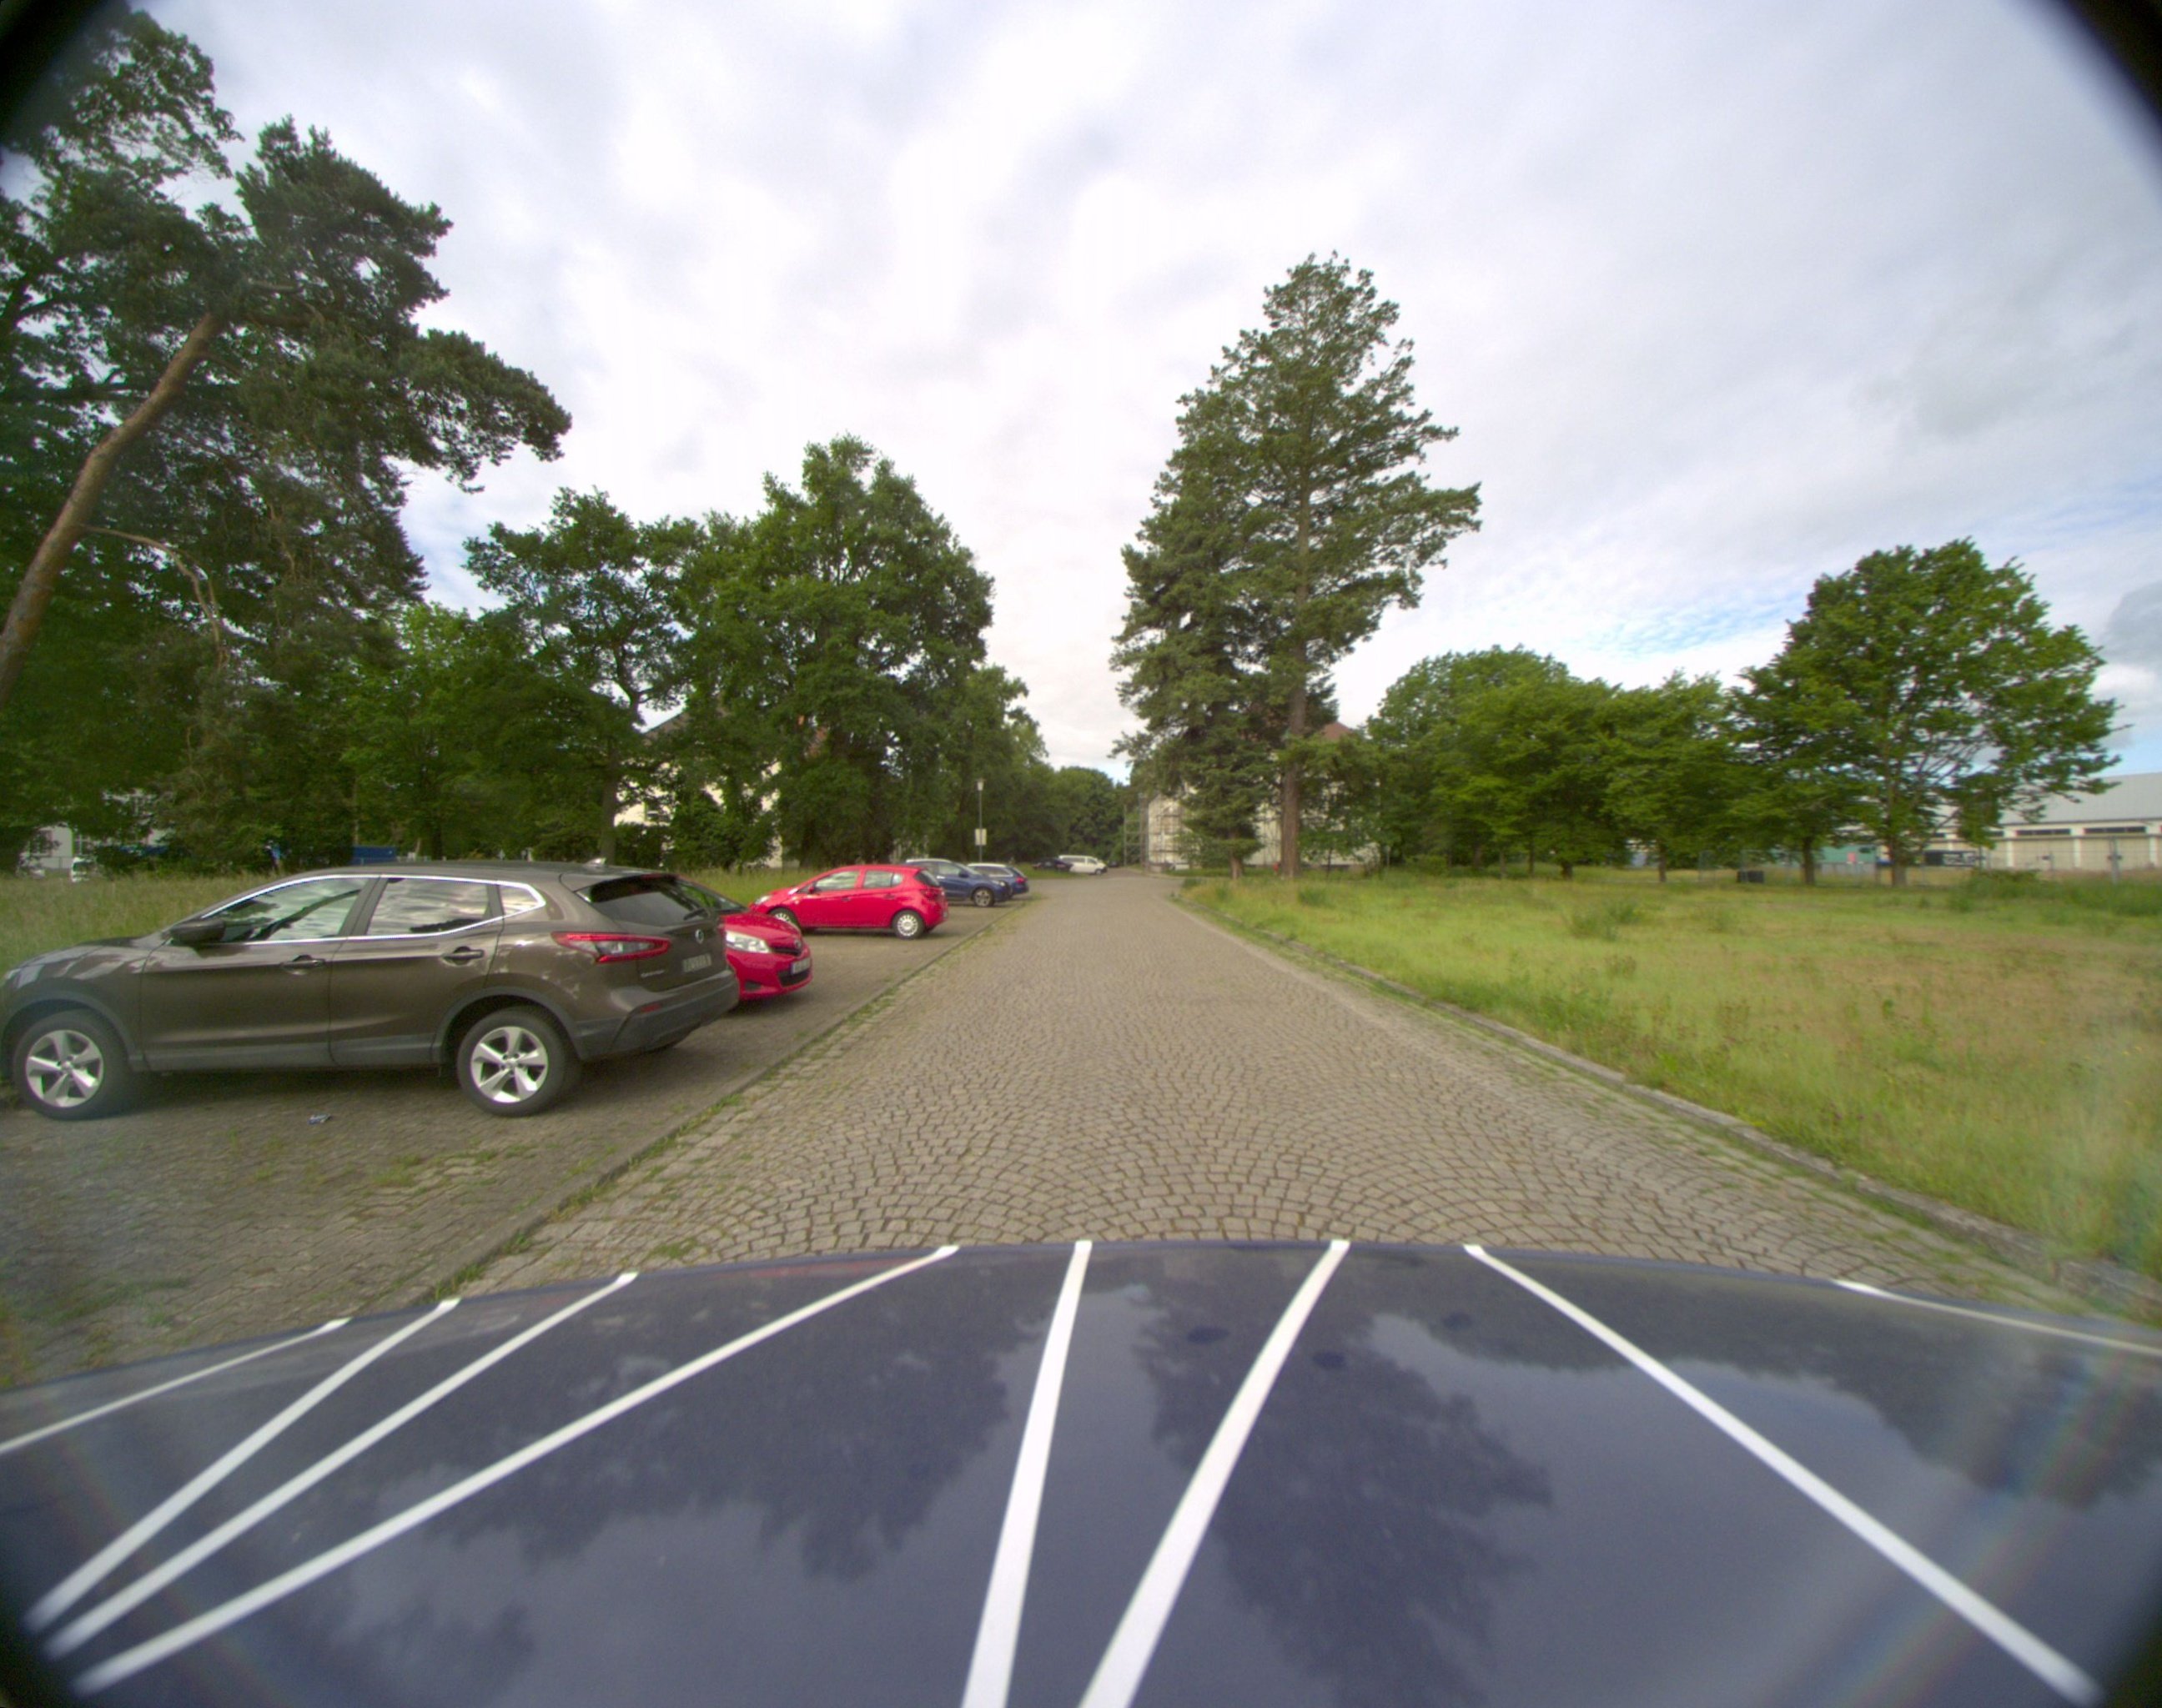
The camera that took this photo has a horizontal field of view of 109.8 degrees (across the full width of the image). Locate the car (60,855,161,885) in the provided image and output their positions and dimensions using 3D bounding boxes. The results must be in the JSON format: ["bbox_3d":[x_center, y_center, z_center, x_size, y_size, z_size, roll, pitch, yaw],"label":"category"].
[{"bbox_3d":[-67.694,1.105,53.119,1.999,2.002,3.999,0,0,-4],"label":"car"}]

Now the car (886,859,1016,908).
[{"bbox_3d":[-4.371,0.993,25.930,4.150,1.529,1.582,1,0,0],"label":"car"}]

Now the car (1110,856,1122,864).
[{"bbox_3d":[6.746,1.089,146.218,1.870,1.408,4.695,1,0,-3],"label":"car"}]

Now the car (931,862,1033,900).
[{"bbox_3d":[-3.946,1.079,30.585,3.877,1.417,1.582,1,0,0],"label":"car"}]

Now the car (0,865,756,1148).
[{"bbox_3d":[-4.861,0.923,5.414,4.271,1.589,1.822,1,0,0],"label":"car"}]

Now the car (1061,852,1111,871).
[{"bbox_3d":[0.529,0.748,79.333,5.141,1.860,1.723,1,0,0],"label":"car"}]

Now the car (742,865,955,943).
[{"bbox_3d":[-4.689,0.997,15.690,3.894,1.451,1.582,1,0,0],"label":"car"}]

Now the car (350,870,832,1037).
[{"bbox_3d":[-4.987,0.969,8.143,4.016,1.477,1.766,1,0,1],"label":"car"}]

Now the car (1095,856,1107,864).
[{"bbox_3d":[3.851,1.142,145.714,1.870,1.408,4.695,1,0,-3],"label":"car"}]
